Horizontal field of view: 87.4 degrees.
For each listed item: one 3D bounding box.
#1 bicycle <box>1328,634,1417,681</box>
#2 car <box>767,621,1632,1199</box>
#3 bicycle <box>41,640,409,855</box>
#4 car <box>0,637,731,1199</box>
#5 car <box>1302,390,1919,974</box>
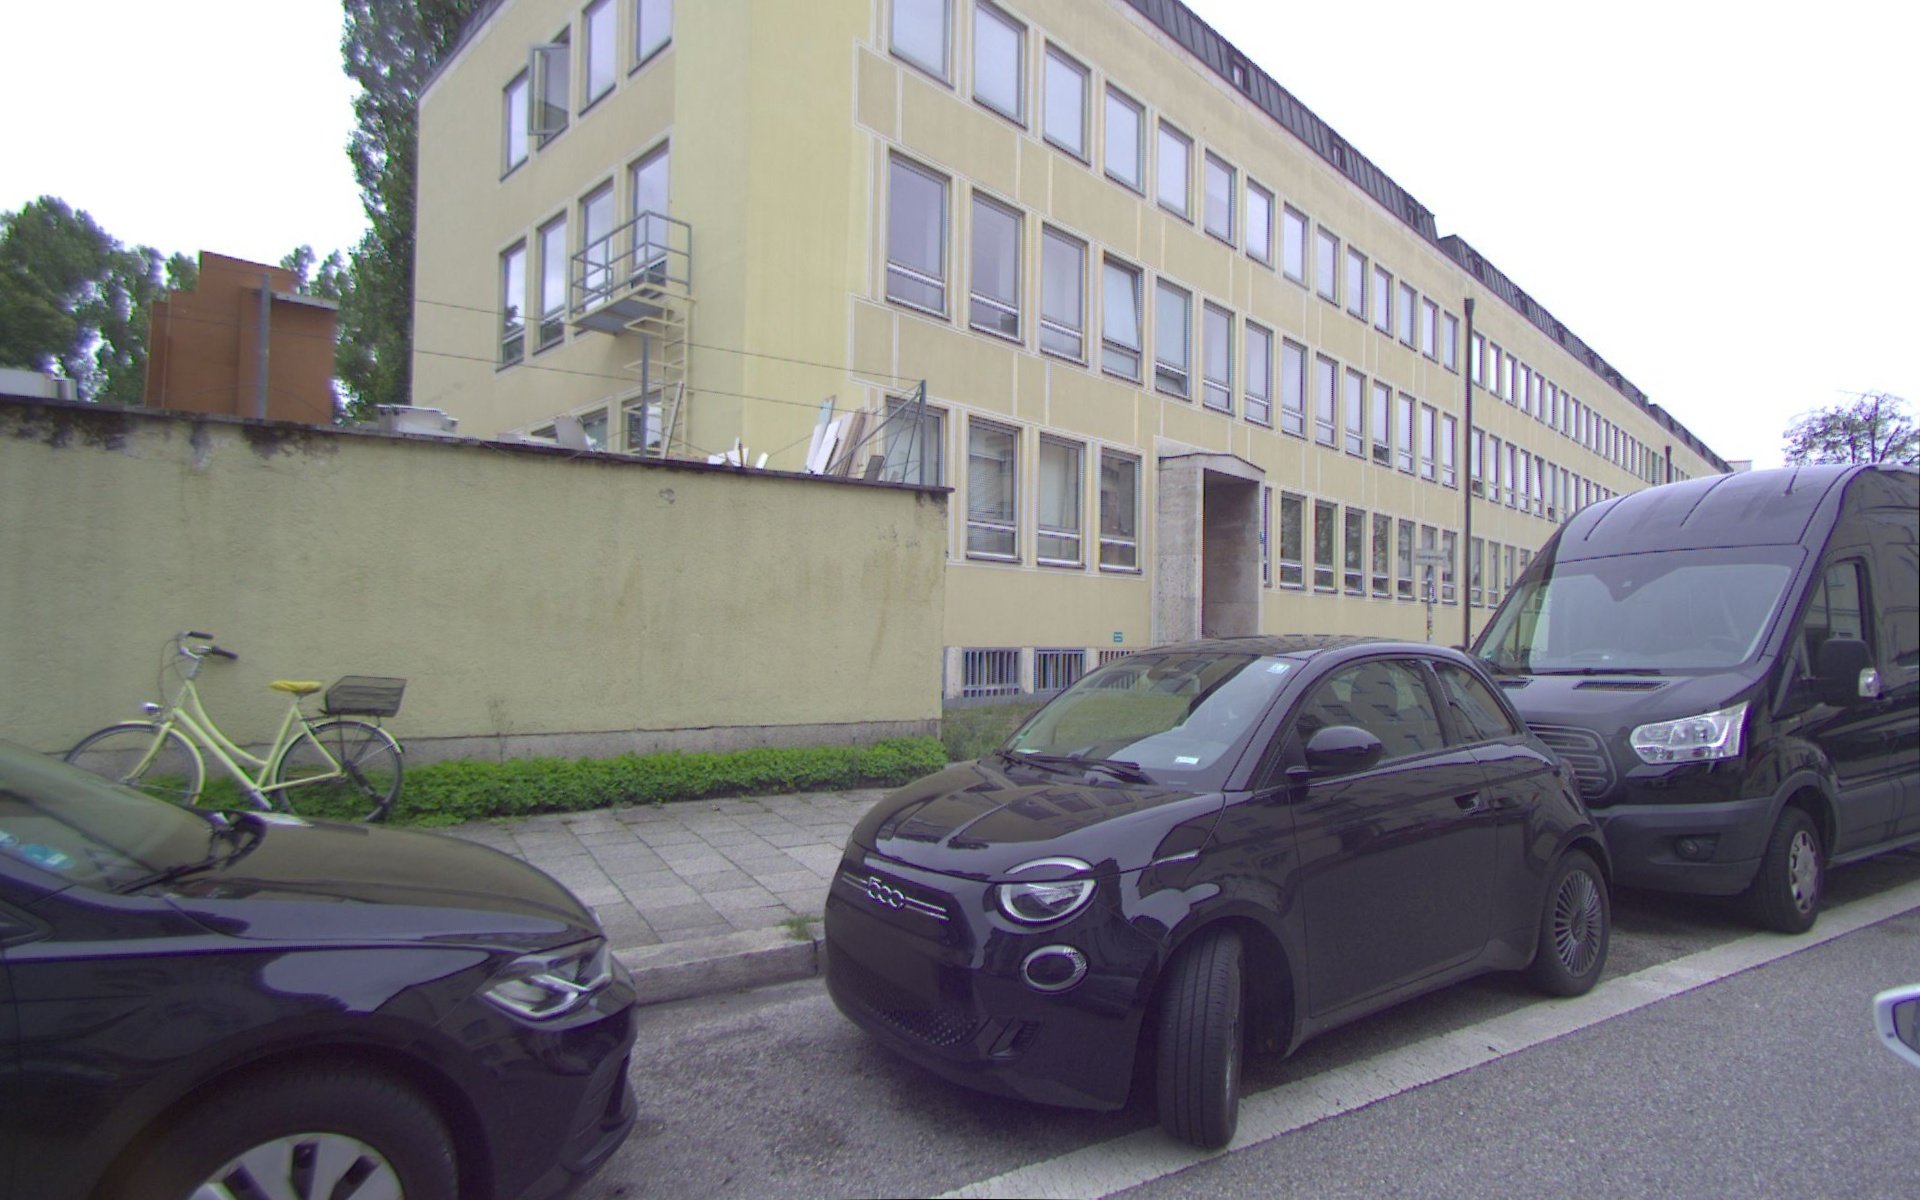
[{"bbox_3d":[10.109,1.403,24.677,1.925,1.028,0.578,2,0,42],"label":"bicycle"},{"bbox_3d":[1.151,0.883,4.197,3.457,1.513,1.690,2,-1,-36],"label":"car"},{"bbox_3d":[-4.393,0.835,6.158,1.724,1.147,0.576,2,-1,-33],"label":"bicycle"},{"bbox_3d":[-2.694,0.799,2.023,4.028,1.443,1.683,2,-2,-34],"label":"car"},{"bbox_3d":[5.231,0.468,7.029,5.587,2.680,2.287,2,-2,-30],"label":"car"}]
